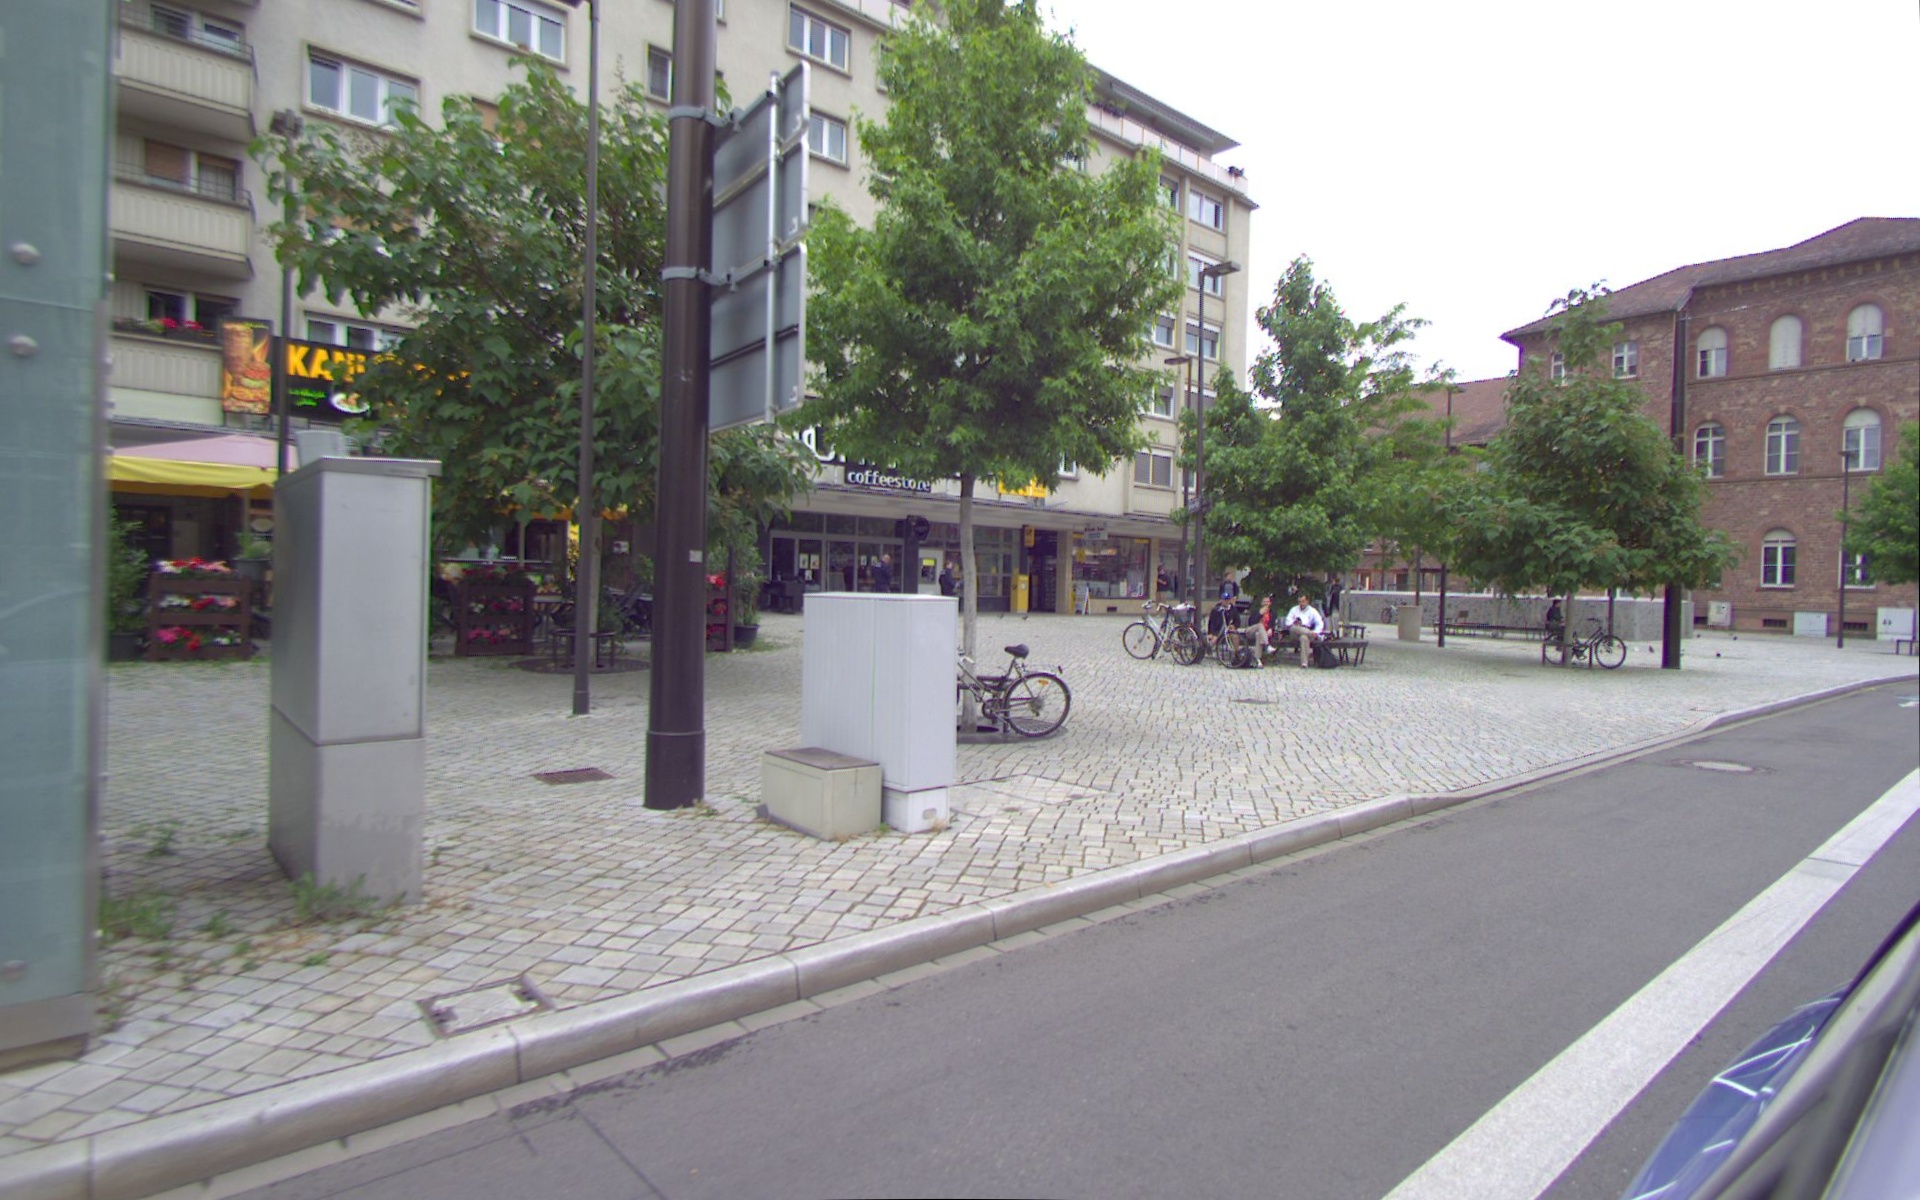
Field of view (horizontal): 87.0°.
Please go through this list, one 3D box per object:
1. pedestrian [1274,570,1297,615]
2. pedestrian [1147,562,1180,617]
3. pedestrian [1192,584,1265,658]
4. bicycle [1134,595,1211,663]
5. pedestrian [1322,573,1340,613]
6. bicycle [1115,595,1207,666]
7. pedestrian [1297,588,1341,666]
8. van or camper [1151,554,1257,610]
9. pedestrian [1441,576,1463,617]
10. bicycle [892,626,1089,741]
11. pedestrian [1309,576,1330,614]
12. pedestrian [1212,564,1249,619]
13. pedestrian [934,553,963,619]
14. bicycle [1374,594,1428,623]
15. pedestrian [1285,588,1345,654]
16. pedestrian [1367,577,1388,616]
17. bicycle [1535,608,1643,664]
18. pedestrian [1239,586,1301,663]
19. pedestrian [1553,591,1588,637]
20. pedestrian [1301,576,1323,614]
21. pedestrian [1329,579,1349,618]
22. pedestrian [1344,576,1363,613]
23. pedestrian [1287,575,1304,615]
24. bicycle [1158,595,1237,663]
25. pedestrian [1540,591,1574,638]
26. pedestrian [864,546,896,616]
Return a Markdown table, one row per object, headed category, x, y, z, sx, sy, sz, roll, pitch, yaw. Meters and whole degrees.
| category | x | y | z | sx | sy | sz | roll | pitch | yaw |
| --- | --- | --- | --- | --- | --- | --- | --- | --- | --- |
| pedestrian | 13.407 | -0.305 | 41.696 | 0.630 | 1.790 | 0.592 | 3 | 0 | -4 |
| pedestrian | 7.437 | -0.383 | 36.981 | 0.767 | 1.925 | 1.055 | 3 | 1 | 32 |
| pedestrian | 5.091 | 0.392 | 19.182 | 1.253 | 1.383 | 0.545 | 1 | 0 | -23 |
| bicycle | 3.862 | 0.508 | 18.539 | 0.467 | 1.124 | 1.609 | 1 | 2 | -25 |
| pedestrian | 18.174 | -0.347 | 49.530 | 0.525 | 1.914 | 0.662 | 1 | -1 | -44 |
| bicycle | 3.559 | 0.515 | 18.138 | 0.467 | 1.124 | 2.045 | 1 | 2 | -25 |
| pedestrian | 6.540 | 0.477 | 18.417 | 0.625 | 1.383 | 0.680 | 0 | 0 | 31 |
| van or camper | 12.749 | -0.895 | 52.593 | 6.445 | 2.754 | 1.997 | 1 | 0 | -41 |
| pedestrian | 20.671 | -0.150 | 42.506 | 0.579 | 1.692 | 0.515 | 3 | 0 | -17 |
| bicycle | 0.270 | 0.765 | 9.485 | 1.718 | 0.990 | 0.661 | 1 | 1 | -12 |
| pedestrian | 16.369 | -0.214 | 46.108 | 0.579 | 1.692 | 0.645 | 3 | 0 | -20 |
| pedestrian | 9.072 | -0.284 | 33.969 | 0.769 | 1.794 | 1.052 | 3 | 1 | 38 |
| pedestrian | -0.336 | -0.393 | 28.185 | 0.704 | 1.773 | 0.776 | 3 | 2 | -2 |
| bicycle | 18.305 | 0.327 | 42.029 | 0.462 | 1.077 | 2.028 | 1 | 3 | -41 |
| pedestrian | 7.719 | 0.440 | 21.991 | 1.385 | 1.383 | 0.629 | 1 | 0 | -42 |
| pedestrian | 18.736 | -0.162 | 45.420 | 0.579 | 1.692 | 0.515 | 3 | 0 | -20 |
| bicycle | 13.530 | 0.745 | 21.827 | 0.632 | 1.137 | 1.922 | 1 | 0 | -29 |
| pedestrian | 5.716 | 0.443 | 18.685 | 0.900 | 1.383 | 0.631 | 1 | 0 | -23 |
| pedestrian | 20.527 | 0.458 | 34.055 | 0.770 | 1.473 | 0.763 | 4 | 2 | 20 |
| pedestrian | 15.840 | -0.228 | 45.589 | 0.579 | 1.692 | 0.644 | 3 | 0 | -25 |
| pedestrian | 16.842 | -0.072 | 45.018 | 0.579 | 1.692 | 0.515 | 3 | 0 | -19 |
| pedestrian | 19.196 | -0.269 | 49.382 | 0.661 | 1.780 | 0.622 | 0 | -1 | 40 |
| pedestrian | 13.708 | -0.209 | 41.353 | 0.584 | 1.606 | 0.640 | 3 | 0 | 17 |
| bicycle | 4.348 | 0.516 | 18.628 | 0.467 | 1.124 | 1.609 | 1 | 2 | -25 |
| pedestrian | 19.731 | 0.472 | 33.459 | 0.770 | 1.473 | 0.763 | 4 | 2 | 20 |
| pedestrian | -2.191 | -0.516 | 27.791 | 0.836 | 1.909 | 0.776 | 1 | 0 | -2 |
